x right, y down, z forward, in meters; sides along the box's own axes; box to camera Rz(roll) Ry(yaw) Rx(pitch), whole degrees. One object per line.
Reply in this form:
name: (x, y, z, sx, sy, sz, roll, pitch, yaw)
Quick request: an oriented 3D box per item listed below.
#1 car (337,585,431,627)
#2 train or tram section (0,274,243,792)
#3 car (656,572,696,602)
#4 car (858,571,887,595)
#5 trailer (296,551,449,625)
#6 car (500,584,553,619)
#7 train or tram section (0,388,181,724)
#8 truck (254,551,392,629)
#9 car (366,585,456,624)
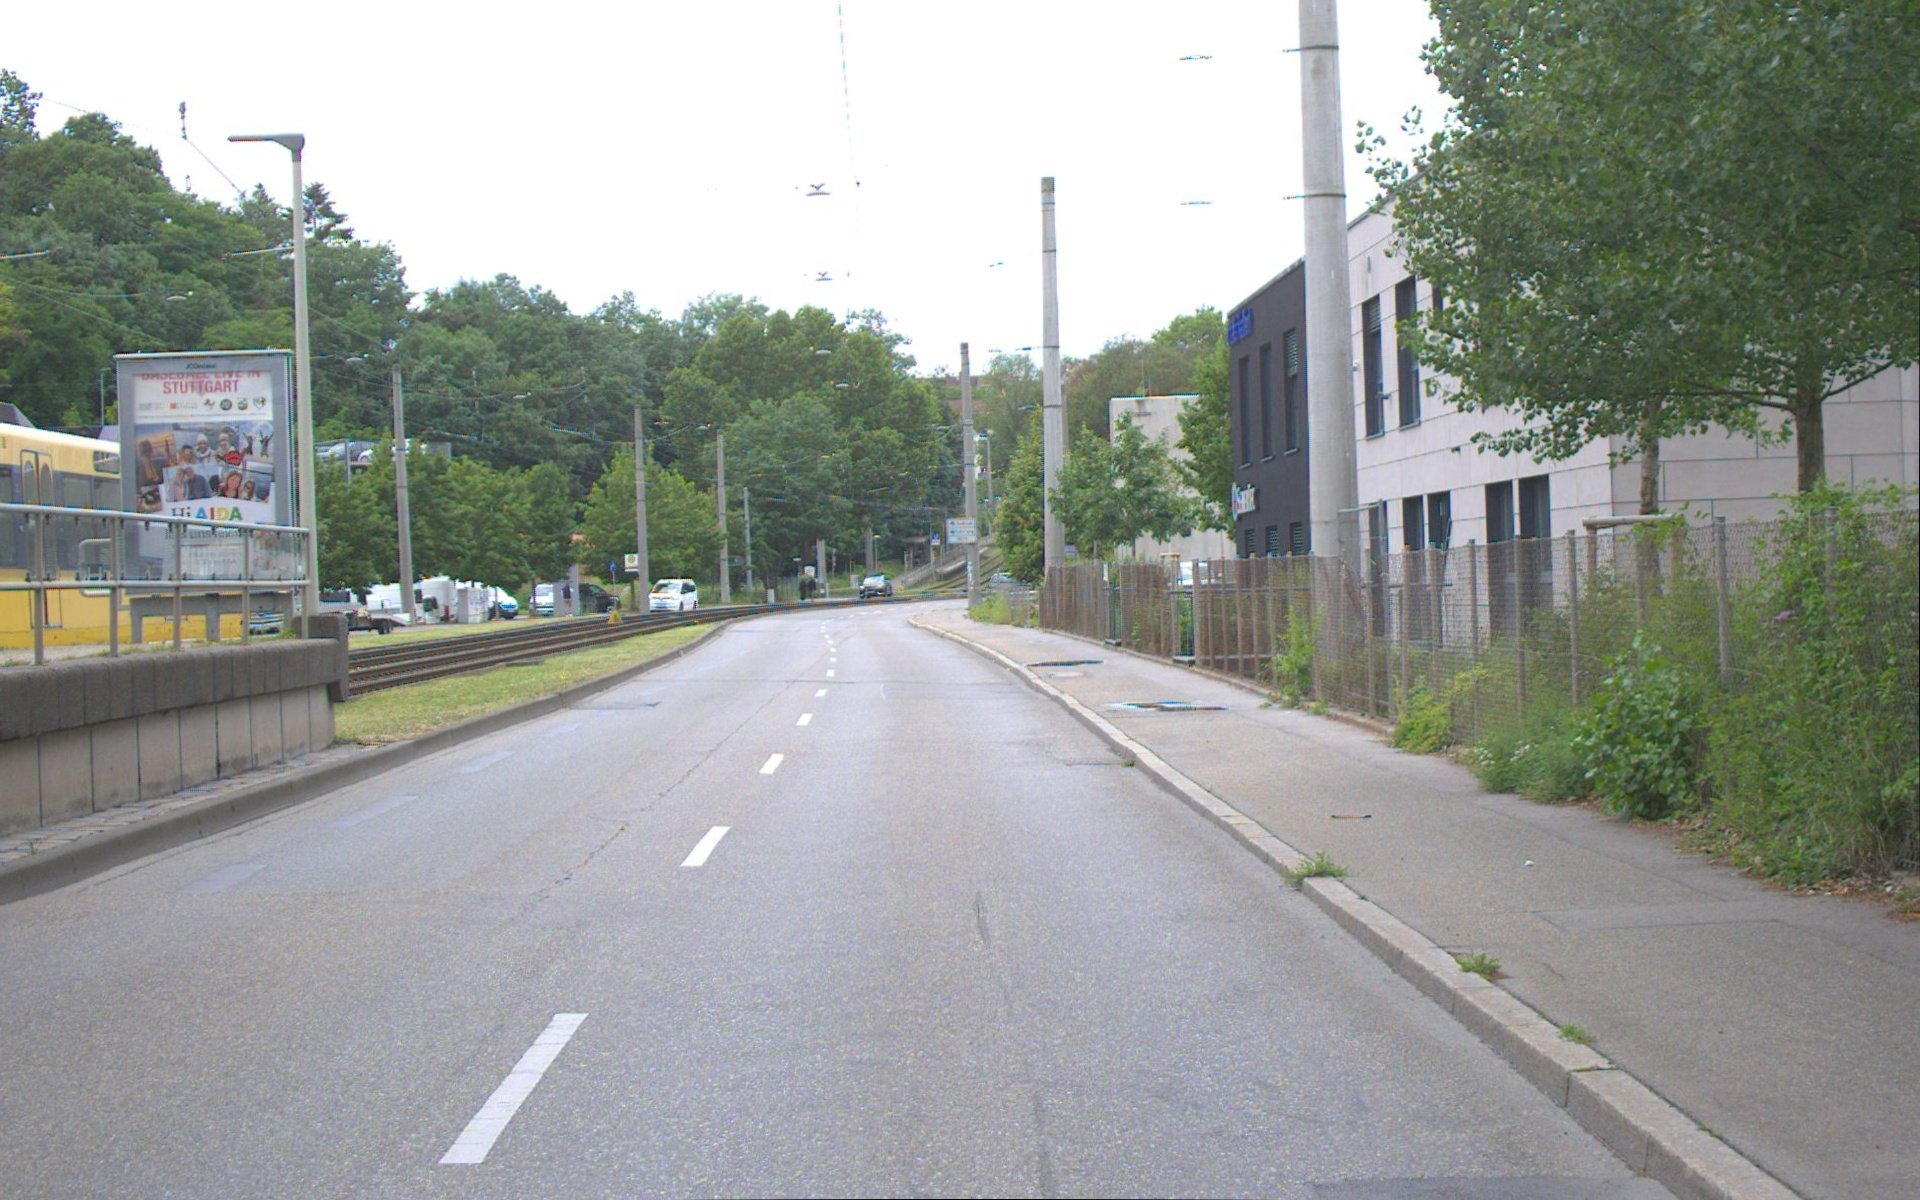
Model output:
car: (-26.967, 0.281, 161.065, 3.987, 1.700, 1.833, -2, -3, 5)
train or tram section: (-9.095, -0.592, 31.547, 2.971, 4.051, 10.197, -2, 1, -1)
car: (-16.186, -0.764, 196.237, 1.993, 1.634, 4.000, -2, 1, -1)
car: (-6.220, -1.214, 244.165, 1.993, 1.634, 4.000, -2, 1, -1)
trailer: (-21.663, -0.494, 127.374, 2.893, 2.574, 9.992, -2, 1, 6)
car: (-24.478, 0.101, 194.175, 1.828, 1.700, 4.141, -2, -3, 9)
train or tram section: (-11.798, -0.483, 43.006, 1.993, 3.783, 9.179, -2, 0, -1)
truck: (-22.345, -0.385, 120.969, 2.884, 2.580, 6.910, -2, 1, 6)
car: (-26.910, 0.233, 168.514, 3.987, 1.700, 1.833, -2, -3, 5)
